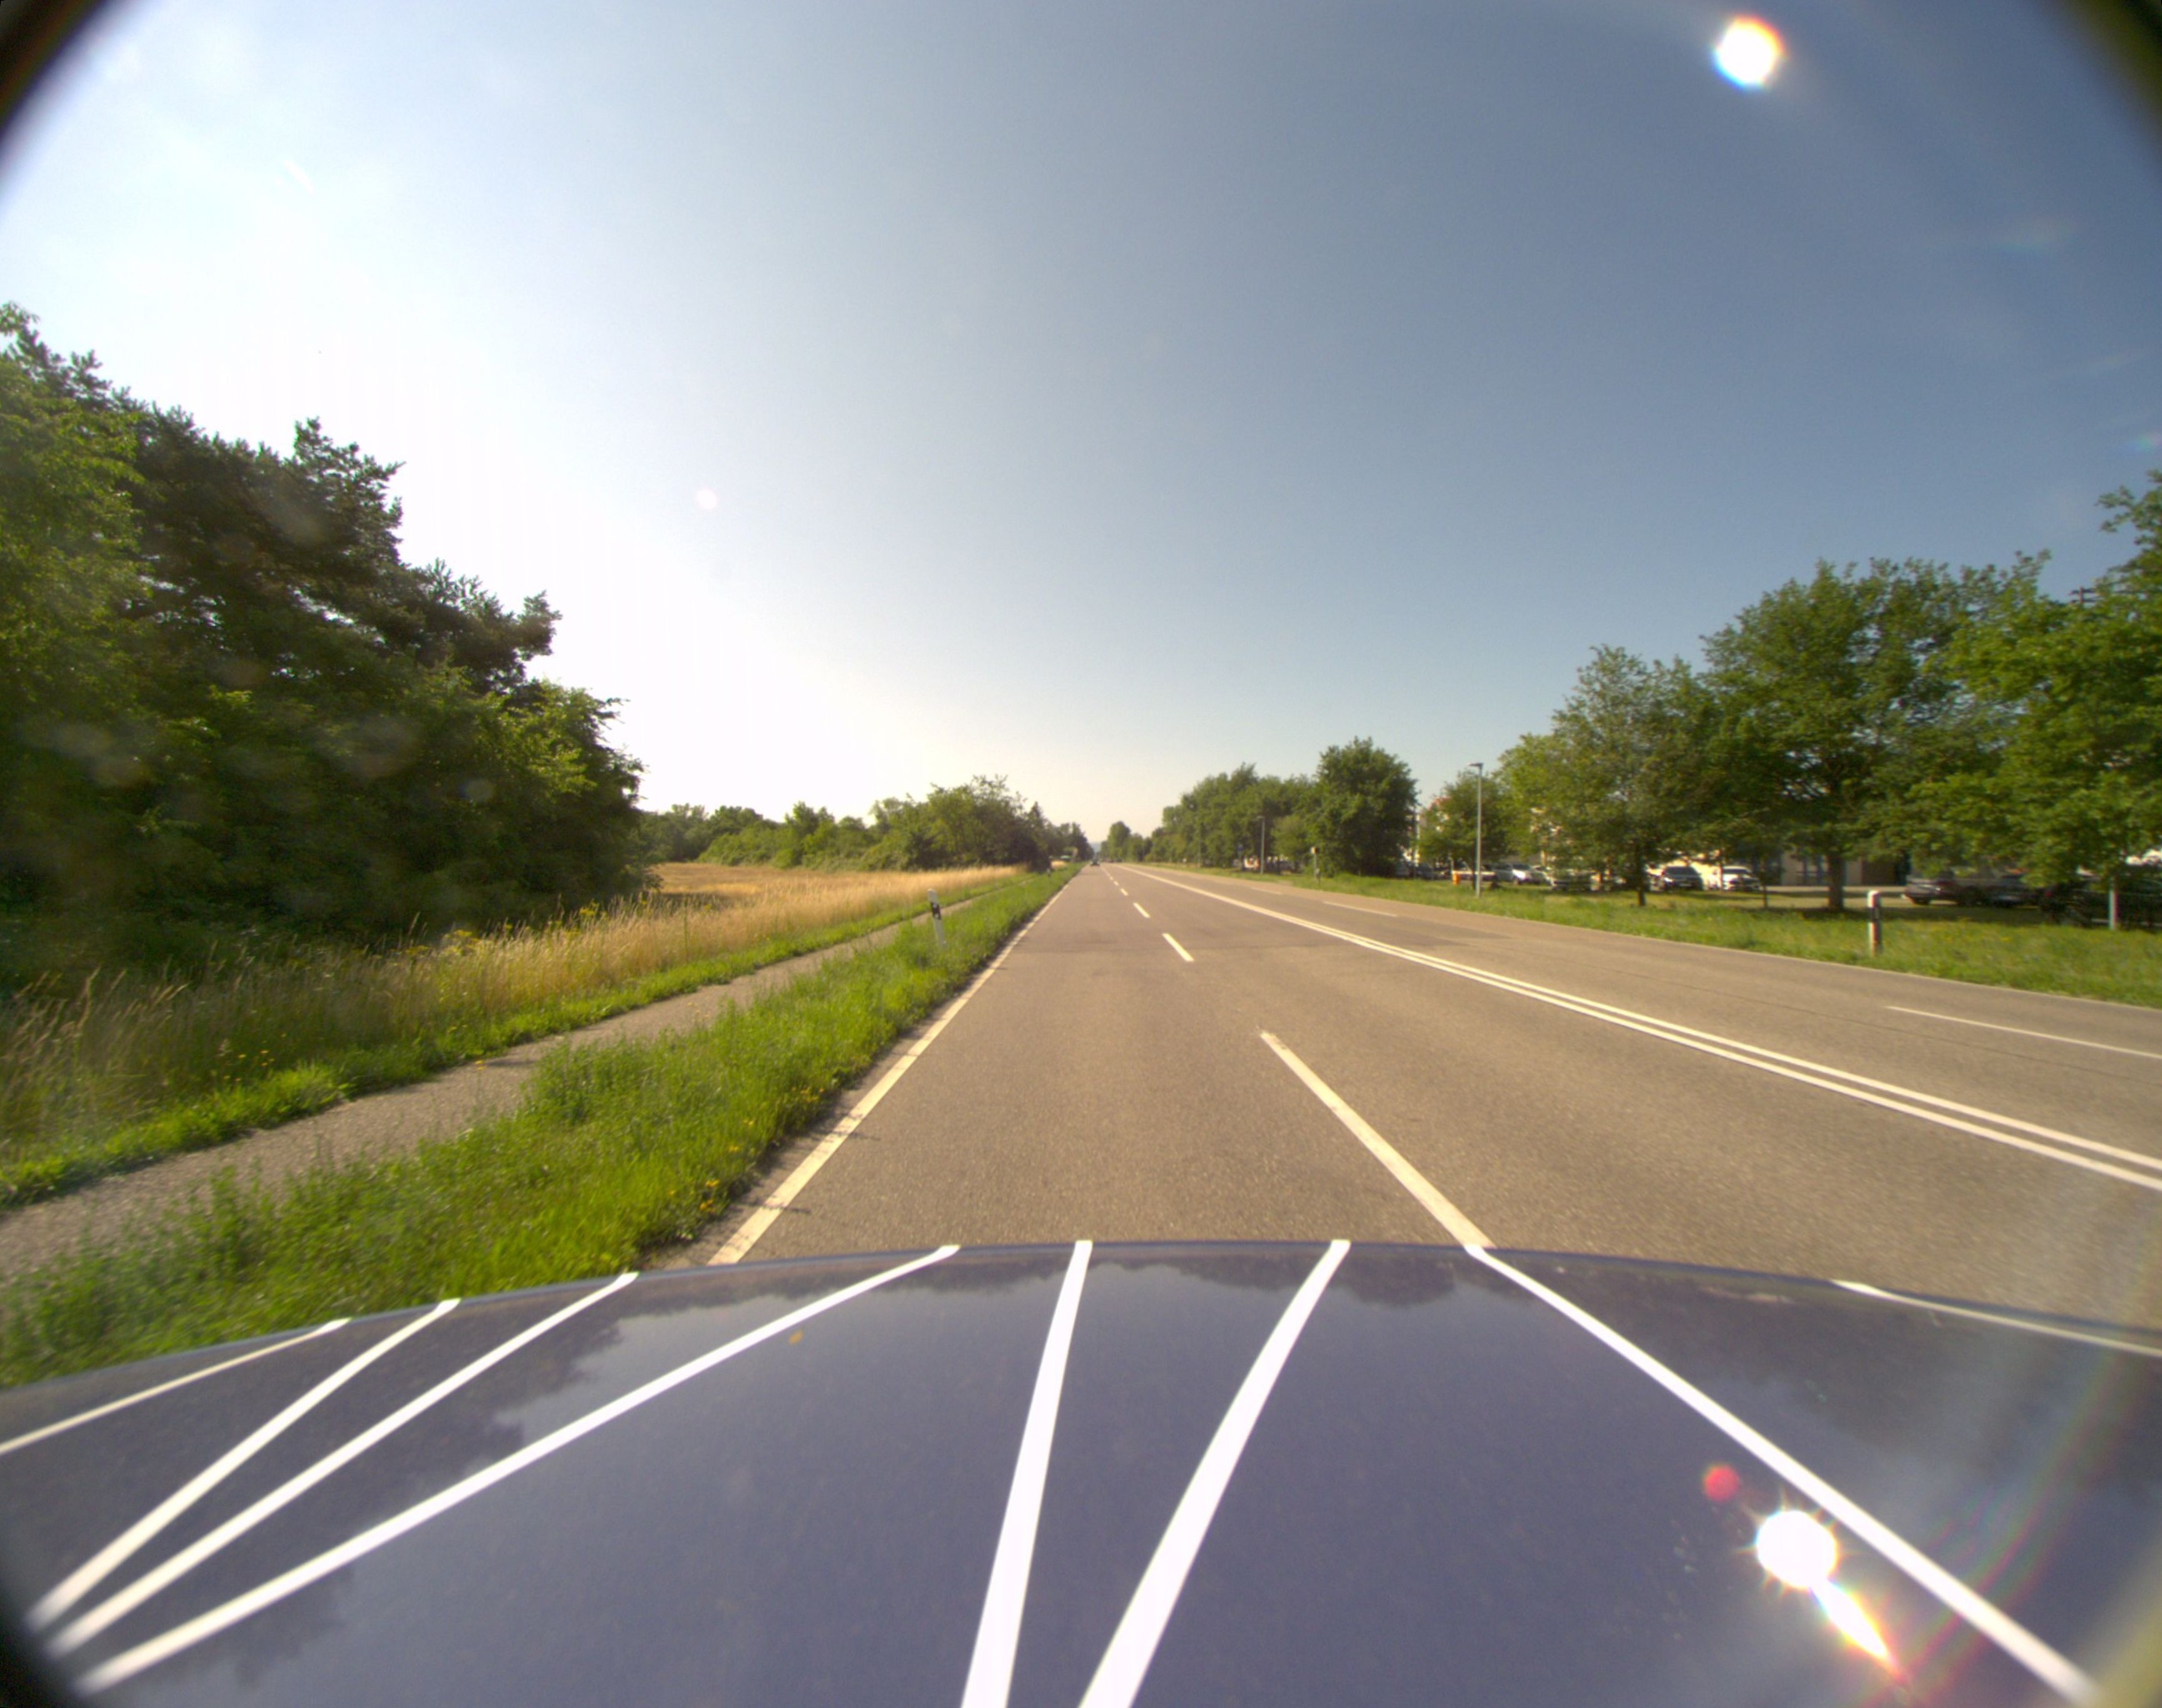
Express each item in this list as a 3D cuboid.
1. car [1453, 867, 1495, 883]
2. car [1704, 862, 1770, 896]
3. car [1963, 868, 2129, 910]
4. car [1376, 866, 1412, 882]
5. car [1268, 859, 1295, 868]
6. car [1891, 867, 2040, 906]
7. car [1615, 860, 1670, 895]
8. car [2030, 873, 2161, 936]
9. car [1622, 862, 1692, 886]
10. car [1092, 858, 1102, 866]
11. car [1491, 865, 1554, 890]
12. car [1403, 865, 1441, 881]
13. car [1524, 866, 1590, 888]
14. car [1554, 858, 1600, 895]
[{"bbox_3d":[34.957,1.813,67.706,1.676,1.342,4.000,0,0,1],"label":"car"},{"bbox_3d":[37.512,1.362,43.570,2.068,1.796,5.026,0,0,32],"label":"car"},{"bbox_3d":[37.136,1.312,29.326,3.997,1.527,1.888,0,0,0],"label":"car"},{"bbox_3d":[28.021,1.787,68.173,1.676,1.342,4.000,0,0,1],"label":"car"},{"bbox_3d":[32.785,1.552,124.430,3.997,1.492,1.758,0,0,1],"label":"car"},{"bbox_3d":[36.816,1.321,31.702,3.997,1.527,1.888,0,0,0],"label":"car"},{"bbox_3d":[31.593,1.262,42.911,2.068,1.796,5.026,0,0,32],"label":"car"},{"bbox_3d":[28.964,1.348,20.219,1.747,1.569,4.549,0,0,1],"label":"car"},{"bbox_3d":[41.200,1.407,54.453,1.861,1.648,4.169,0,0,1],"label":"car"},{"bbox_3d":[3.043,1.462,143.608,1.768,1.403,4.001,0,-1,2],"label":"car"},{"bbox_3d":[30.687,1.608,52.927,1.934,1.642,4.191,0,0,0],"label":"car"},{"bbox_3d":[30.712,1.704,68.631,1.676,1.342,4.000,0,0,1],"label":"car"},{"bbox_3d":[33.023,1.581,52.848,1.934,1.386,4.191,0,0,0],"label":"car"},{"bbox_3d":[28.064,1.197,43.113,2.068,1.918,5.026,0,0,32],"label":"car"}]
